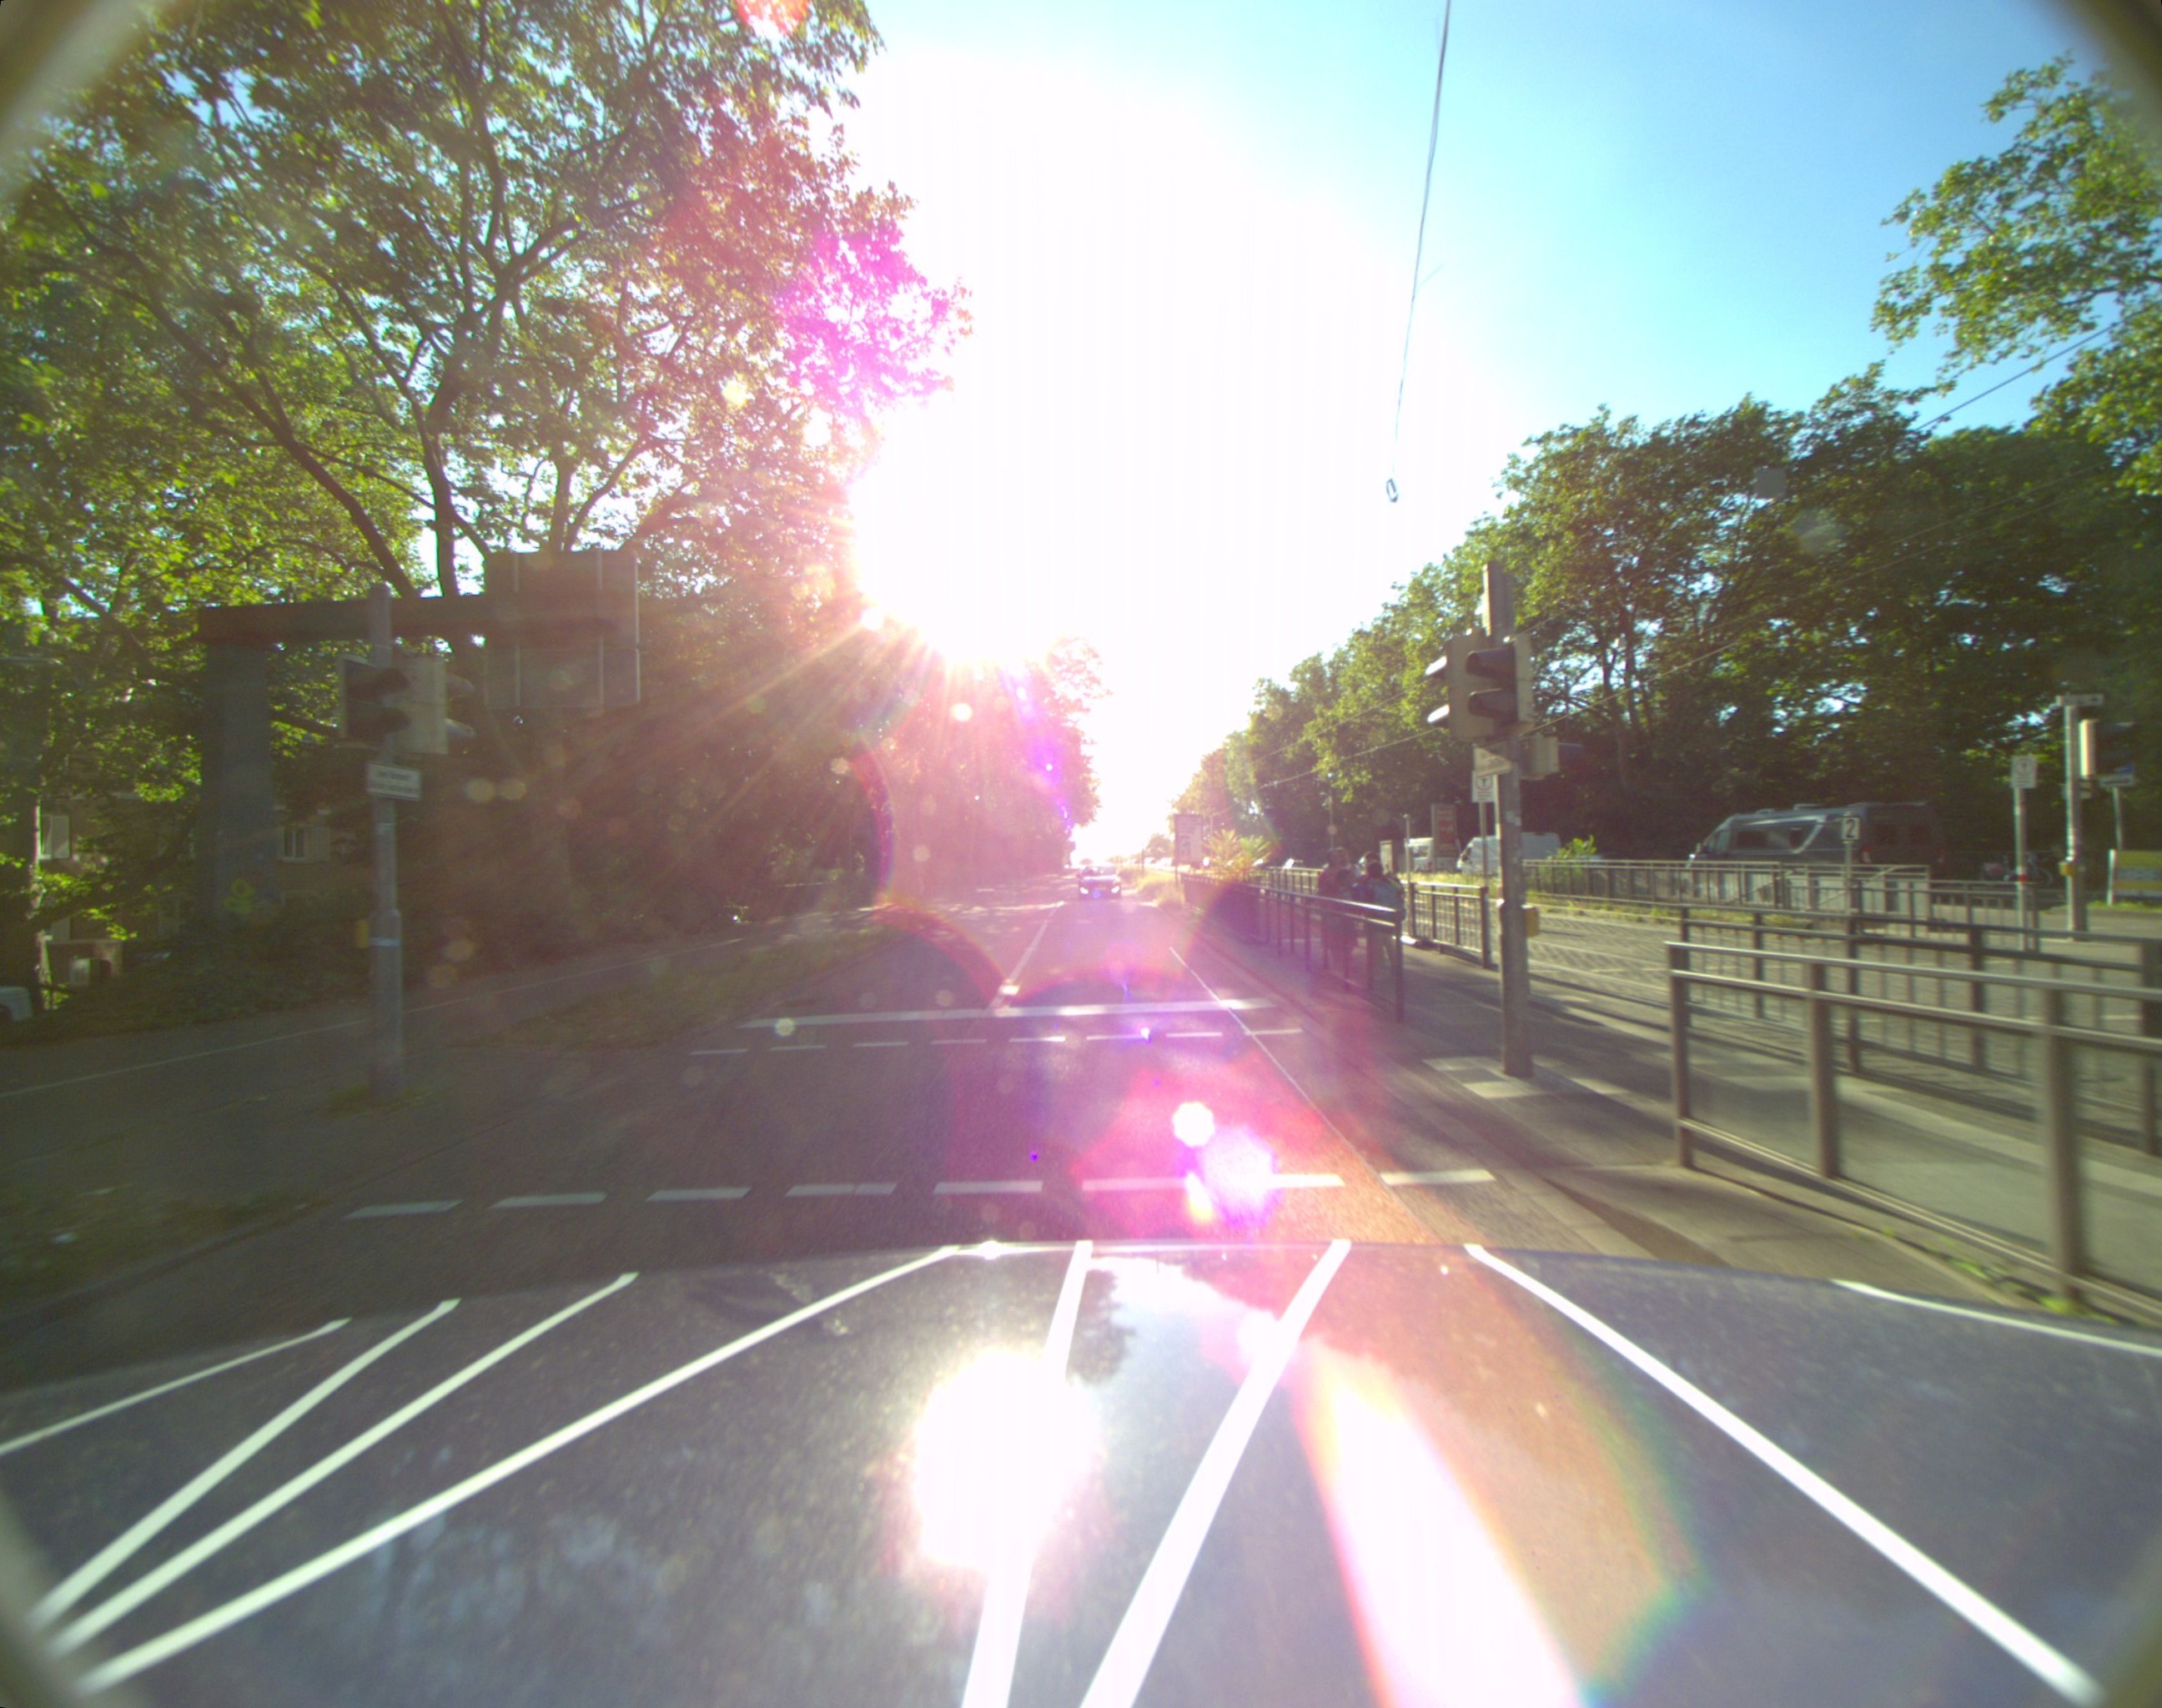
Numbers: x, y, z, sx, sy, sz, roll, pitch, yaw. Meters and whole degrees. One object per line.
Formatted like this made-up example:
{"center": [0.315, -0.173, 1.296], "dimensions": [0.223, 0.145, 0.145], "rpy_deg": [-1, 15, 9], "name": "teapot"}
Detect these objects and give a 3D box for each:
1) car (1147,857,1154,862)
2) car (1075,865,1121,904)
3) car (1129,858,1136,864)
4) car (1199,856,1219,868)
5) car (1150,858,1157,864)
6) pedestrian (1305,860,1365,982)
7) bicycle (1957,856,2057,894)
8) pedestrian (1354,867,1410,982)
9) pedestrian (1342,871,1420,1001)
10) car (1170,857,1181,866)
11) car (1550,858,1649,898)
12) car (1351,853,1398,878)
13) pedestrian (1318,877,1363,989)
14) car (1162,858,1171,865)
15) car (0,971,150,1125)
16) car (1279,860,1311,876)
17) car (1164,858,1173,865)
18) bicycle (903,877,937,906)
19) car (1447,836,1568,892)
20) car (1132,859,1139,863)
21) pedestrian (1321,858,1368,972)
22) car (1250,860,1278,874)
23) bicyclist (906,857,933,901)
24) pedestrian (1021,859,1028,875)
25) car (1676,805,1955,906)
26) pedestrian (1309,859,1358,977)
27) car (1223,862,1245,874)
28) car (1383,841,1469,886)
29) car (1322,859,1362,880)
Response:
{"center": [20.229, 1.714, 222.241], "dimensions": [1.658, 1.491, 3.925], "rpy_deg": [0, 0, 1], "name": "car"}
{"center": [0.700, 1.252, 32.842], "dimensions": [1.799, 1.501, 4.000], "rpy_deg": [-3, -1, 0], "name": "car"}
{"center": [17.106, 2.318, 253.102], "dimensions": [1.831, 1.841, 5.036], "rpy_deg": [0, 0, 0], "name": "car"}
{"center": [19.222, 1.223, 114.002], "dimensions": [1.832, 1.708, 4.392], "rpy_deg": [0, 0, -5], "name": "car"}
{"center": [20.216, 1.898, 211.078], "dimensions": [1.658, 1.491, 3.925], "rpy_deg": [0, 0, 0], "name": "car"}
{"center": [3.239, 0.834, 9.711], "dimensions": [0.591, 1.510, 0.514], "rpy_deg": [0, 0, 1], "name": "pedestrian"}
{"center": [25.946, 0.576, 21.341], "dimensions": [0.583, 1.023, 1.863], "rpy_deg": [-1, 0, 3], "name": "bicycle"}
{"center": [3.931, 0.904, 9.939], "dimensions": [0.521, 1.463, 0.514], "rpy_deg": [0, 0, 2], "name": "pedestrian"}
{"center": [3.395, 0.900, 8.623], "dimensions": [0.592, 1.398, 0.558], "rpy_deg": [0, 0, -20], "name": "pedestrian"}
{"center": [19.626, 1.561, 158.223], "dimensions": [1.734, 1.730, 3.899], "rpy_deg": [0, 0, -1], "name": "car"}
{"center": [20.841, 0.923, 30.697], "dimensions": [1.656, 1.504, 3.265], "rpy_deg": [0, 0, -2], "name": "car"}
{"center": [20.370, 0.773, 52.891], "dimensions": [1.743, 1.718, 3.881], "rpy_deg": [0, 0, -1], "name": "car"}
{"center": [3.156, 0.948, 9.241], "dimensions": [0.417, 1.313, 0.359], "rpy_deg": [0, 0, 1], "name": "pedestrian"}
{"center": [19.656, 1.779, 174.670], "dimensions": [1.658, 1.491, 3.924], "rpy_deg": [0, 0, -1], "name": "car"}
{"center": [-15.153, 2.699, 9.484], "dimensions": [1.908, 1.801, 4.100], "rpy_deg": [-3, 0, 1], "name": "car"}
{"center": [19.952, 1.247, 70.966], "dimensions": [1.743, 1.428, 3.851], "rpy_deg": [0, 0, -1], "name": "car"}
{"center": [19.537, 1.692, 169.265], "dimensions": [1.658, 1.433, 3.785], "rpy_deg": [0, 0, 0], "name": "car"}
{"center": [-6.462, 1.496, 30.592], "dimensions": [0.700, 1.101, 1.931], "rpy_deg": [-2, -1, 8], "name": "bicycle"}
{"center": [20.614, 0.466, 37.183], "dimensions": [2.189, 2.506, 6.270], "rpy_deg": [0, 0, -3], "name": "car"}
{"center": [16.737, 2.132, 233.299], "dimensions": [1.925, 1.407, 4.749], "rpy_deg": [0, 0, -1], "name": "car"}
{"center": [3.730, 0.831, 10.747], "dimensions": [0.520, 1.559, 0.509], "rpy_deg": [1, 0, 31], "name": "pedestrian"}
{"center": [19.632, 1.392, 81.569], "dimensions": [1.832, 1.428, 4.323], "rpy_deg": [0, 0, -1], "name": "car"}
{"center": [-6.485, 1.013, 30.553], "dimensions": [0.700, 1.718, 1.081], "rpy_deg": [-2, -1, 8], "name": "bicyclist"}
{"center": [-5.846, 1.383, 78.475], "dimensions": [0.649, 1.626, 0.928], "rpy_deg": [1, 0, 2], "name": "pedestrian"}
{"center": [20.728, 0.039, 22.009], "dimensions": [2.189, 2.506, 6.032], "rpy_deg": [0, 0, -1], "name": "car"}
{"center": [3.445, 0.846, 10.345], "dimensions": [0.520, 1.559, 0.509], "rpy_deg": [1, 0, 31], "name": "pedestrian"}
{"center": [19.136, 1.747, 95.359], "dimensions": [1.832, 1.496, 4.394], "rpy_deg": [0, 0, -1], "name": "car"}
{"center": [20.298, 0.514, 45.082], "dimensions": [2.189, 2.506, 6.049], "rpy_deg": [0, 0, -1], "name": "car"}
{"center": [20.166, 1.194, 58.853], "dimensions": [1.743, 1.546, 3.881], "rpy_deg": [0, 0, -1], "name": "car"}
